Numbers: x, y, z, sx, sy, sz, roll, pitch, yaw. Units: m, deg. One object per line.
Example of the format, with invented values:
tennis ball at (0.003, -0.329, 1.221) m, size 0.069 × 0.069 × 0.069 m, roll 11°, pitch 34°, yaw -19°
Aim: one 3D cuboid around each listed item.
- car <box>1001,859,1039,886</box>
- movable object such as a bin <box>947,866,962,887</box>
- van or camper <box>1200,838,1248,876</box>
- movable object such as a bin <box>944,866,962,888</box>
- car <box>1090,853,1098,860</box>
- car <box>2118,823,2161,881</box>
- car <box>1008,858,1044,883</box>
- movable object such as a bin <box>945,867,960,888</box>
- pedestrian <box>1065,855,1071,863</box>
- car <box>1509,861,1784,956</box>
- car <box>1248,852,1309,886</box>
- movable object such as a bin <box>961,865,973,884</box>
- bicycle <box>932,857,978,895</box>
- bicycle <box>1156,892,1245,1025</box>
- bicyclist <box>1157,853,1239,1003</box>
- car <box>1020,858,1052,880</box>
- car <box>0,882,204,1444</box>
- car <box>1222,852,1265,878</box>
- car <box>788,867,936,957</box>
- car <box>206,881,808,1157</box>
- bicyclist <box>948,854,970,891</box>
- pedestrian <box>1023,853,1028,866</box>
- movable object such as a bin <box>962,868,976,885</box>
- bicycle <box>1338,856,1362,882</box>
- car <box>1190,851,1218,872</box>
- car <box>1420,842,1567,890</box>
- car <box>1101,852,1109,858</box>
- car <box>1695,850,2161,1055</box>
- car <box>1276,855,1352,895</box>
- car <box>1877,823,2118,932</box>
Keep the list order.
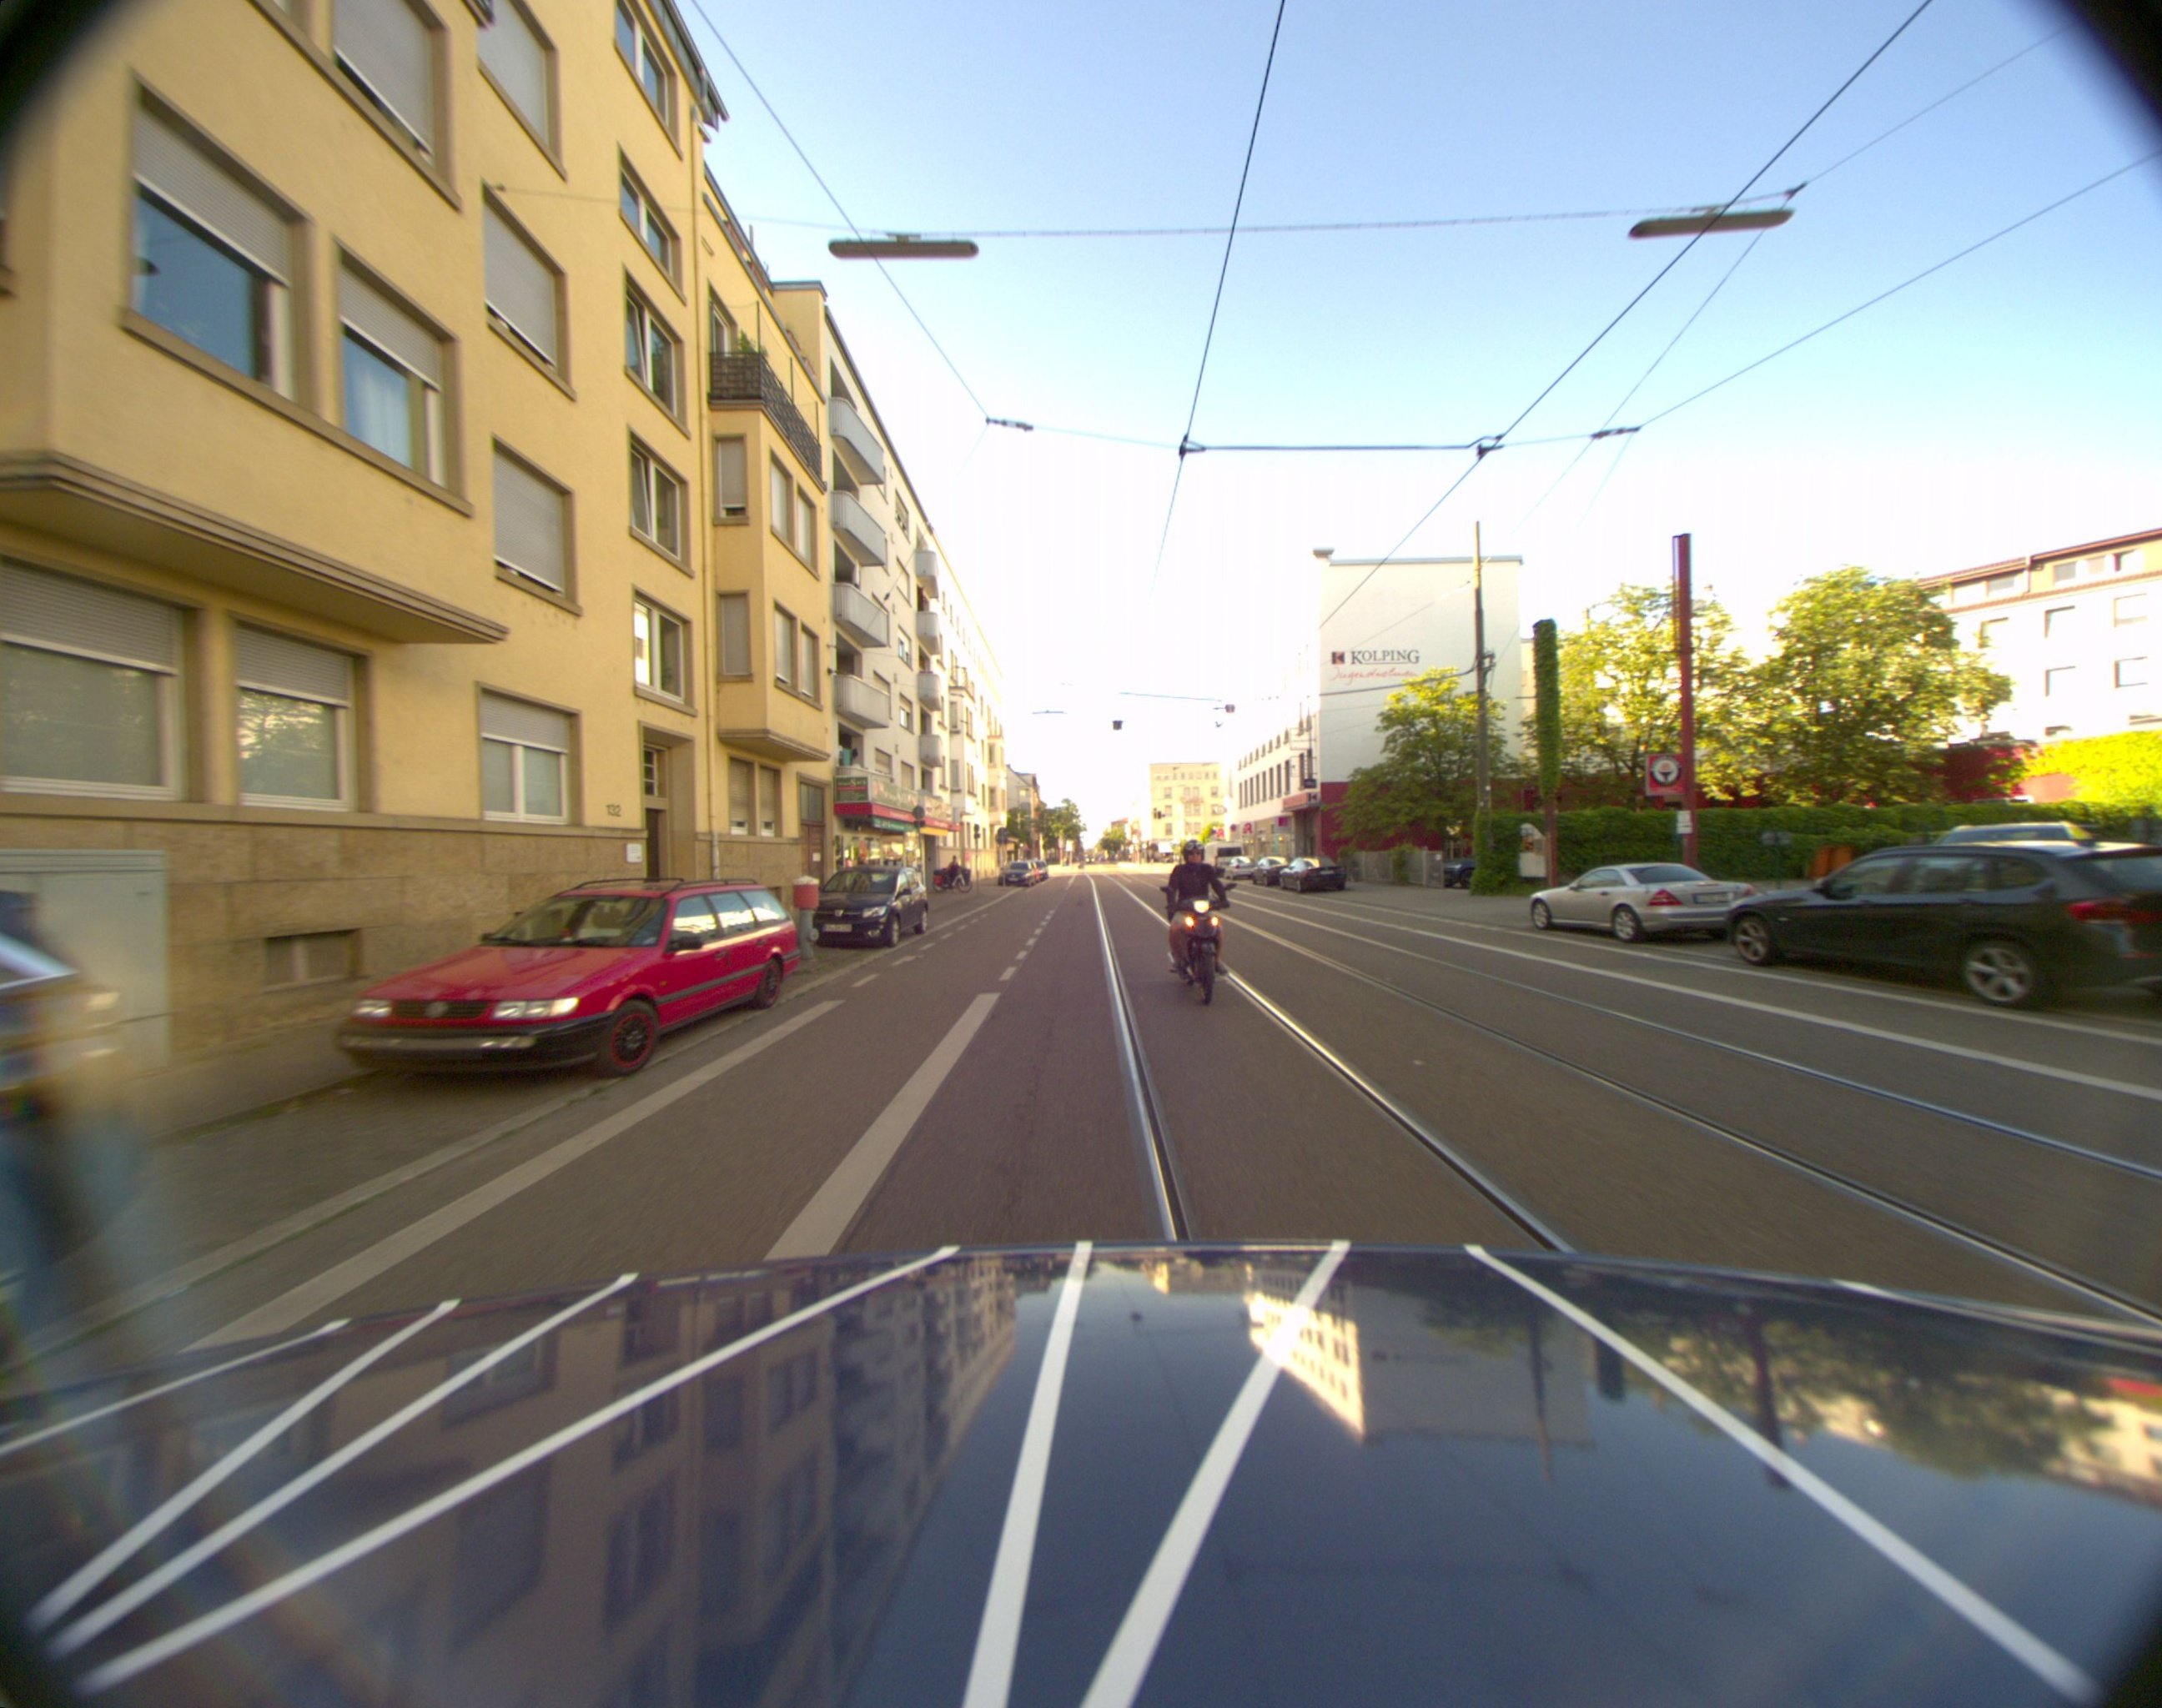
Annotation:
car at (-3.483, 1.031, 44.212) m, size 1.714 × 1.399 × 4.358 m, roll 1°, pitch 0°, yaw 2°
movable object such as a bin at (-6.554, 1.166, 39.413) m, size 0.677 × 1.066 × 0.569 m, roll -2°, pitch 1°, yaw 0°
van or camper at (10.103, 0.195, 54.226) m, size 2.177 × 2.453 × 6.231 m, roll -3°, pitch 0°, yaw 0°
movable object such as a bin at (-6.424, 1.143, 38.089) m, size 0.772 × 1.066 × 0.618 m, roll -2°, pitch 1°, yaw 0°
car at (3.055, 0.515, 181.424) m, size 1.970 × 1.577 × 4.000 m, roll -2°, pitch 0°, yaw 1°
car at (31.145, -0.110, 20.706) m, size 4.000 × 1.545 × 1.801 m, roll -2°, pitch 0°, yaw -9°
car at (-3.532, 1.056, 49.530) m, size 1.861 × 1.464 × 3.989 m, roll 1°, pitch 0°, yaw 2°
movable object such as a bin at (-6.560, 1.204, 38.821) m, size 0.677 × 1.066 × 0.569 m, roll -2°, pitch 1°, yaw 0°
pedestrian at (-1.978, 0.713, 113.578) m, size 0.774 × 1.197 × 0.610 m, roll -1°, pitch 1°, yaw -8°
car at (9.770, 0.846, 13.643) m, size 1.787 × 1.306 × 4.221 m, roll -3°, pitch 0°, yaw 1°
car at (9.825, 0.706, 38.197) m, size 1.788 × 1.472 × 4.699 m, roll -3°, pitch 0°, yaw 0°
movable object such as a bin at (-6.344, 1.151, 42.319) m, size 0.560 × 1.051 × 0.554 m, roll -2°, pitch 1°, yaw 0°
bicycle at (-5.805, 1.005, 35.135) m, size 1.935 × 1.700 × 0.775 m, roll -2°, pitch 1°, yaw 4°
bicycle at (1.252, 1.064, 8.295) m, size 0.767 × 1.191 × 1.752 m, roll -1°, pitch 0°, yaw 3°
bicyclist at (1.247, 0.762, 8.268) m, size 0.774 × 1.531 × 0.939 m, roll -1°, pitch 1°, yaw 4°
car at (-3.190, 1.041, 54.734) m, size 1.861 × 1.498 × 4.096 m, roll 1°, pitch 0°, yaw 2°
car at (-4.240, 0.965, 0.518) m, size 1.863 × 1.656 × 4.562 m, roll -1°, pitch 0°, yaw 2°
car at (10.060, 0.648, 47.331) m, size 1.787 × 1.390 × 4.445 m, roll -3°, pitch 0°, yaw 2°
car at (-4.175, 1.039, 15.168) m, size 1.722 × 1.482 × 4.001 m, roll 0°, pitch 0°, yaw 1°
car at (-4.321, 1.089, 6.959) m, size 1.864 × 1.447 × 4.709 m, roll -1°, pitch 0°, yaw 1°
bicyclist at (-5.659, 0.859, 35.225) m, size 0.844 × 1.692 × 0.510 m, roll -2°, pitch 1°, yaw 4°
pedestrian at (-8.866, 0.864, 121.370) m, size 0.650 × 1.944 × 0.583 m, roll -2°, pitch 1°, yaw -16°
movable object such as a bin at (-6.130, 1.221, 41.599) m, size 0.657 × 0.911 × 0.569 m, roll -2°, pitch 1°, yaw 0°
bicycle at (12.771, 0.686, 36.158) m, size 0.440 × 1.168 × 2.050 m, roll -2°, pitch 1°, yaw 2°
car at (10.346, 0.605, 64.157) m, size 1.787 × 1.543 × 3.992 m, roll -3°, pitch 0°, yaw 2°
car at (15.397, 0.430, 28.556) m, size 4.372 × 1.588 × 2.000 m, roll -2°, pitch 0°, yaw 2°
car at (6.512, 0.297, 207.135) m, size 1.970 × 1.577 × 4.000 m, roll -2°, pitch 0°, yaw 3°
car at (9.507, 0.789, 8.411) m, size 1.787 × 1.556 × 4.611 m, roll -3°, pitch 0°, yaw 3°
car at (9.822, 0.826, 32.456) m, size 1.787 × 1.437 × 4.841 m, roll -3°, pitch 0°, yaw 1°
car at (15.608, 0.296, 12.879) m, size 4.804 × 1.509 × 1.995 m, roll -2°, pitch 0°, yaw -32°
